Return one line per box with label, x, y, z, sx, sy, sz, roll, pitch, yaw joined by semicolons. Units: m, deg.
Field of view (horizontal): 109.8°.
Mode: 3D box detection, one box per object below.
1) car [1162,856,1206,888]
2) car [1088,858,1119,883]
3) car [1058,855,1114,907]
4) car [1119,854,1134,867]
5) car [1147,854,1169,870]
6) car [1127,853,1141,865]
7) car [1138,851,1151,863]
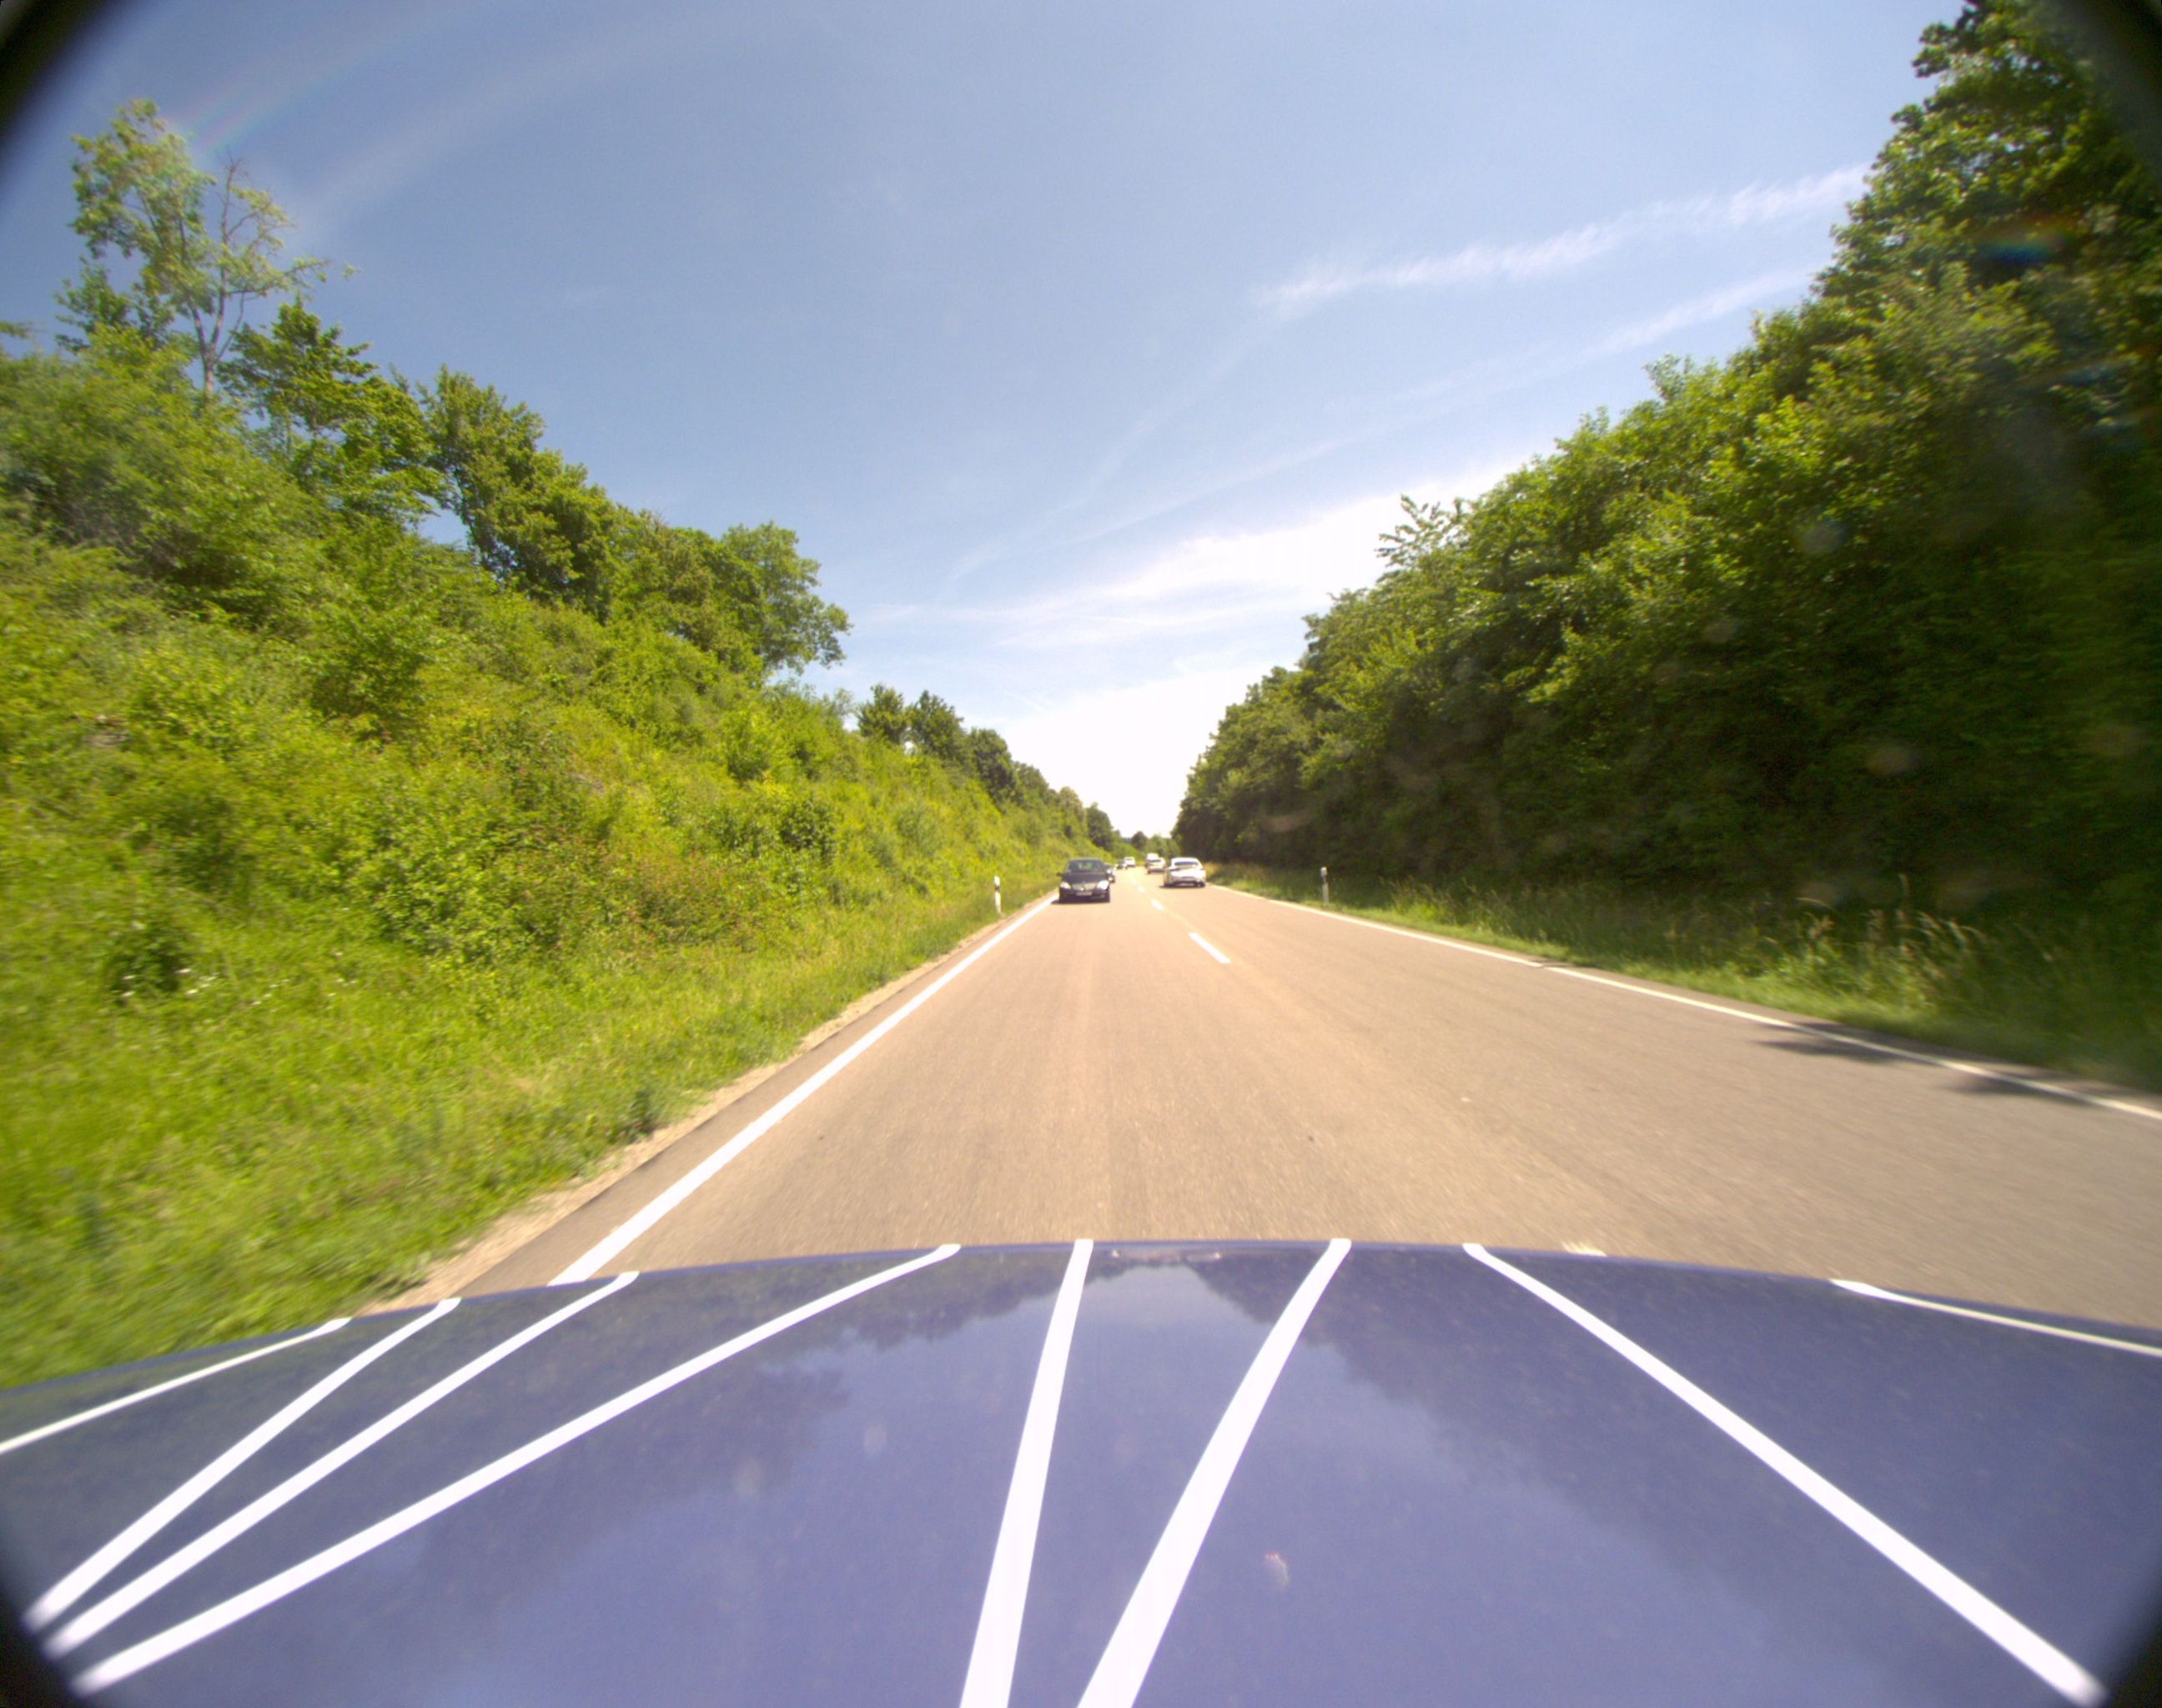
car;5.196;0.870;38.984;1.682;1.452;4.759;-2;0;1
car;1.482;1.029;48.888;1.709;1.444;5.416;-2;0;4
car;0.275;0.907;27.902;1.783;1.676;4.780;-2;0;3
car;6.690;0.926;112.726;2.045;1.743;4.167;-2;0;2
car;7.237;0.751;71.819;1.749;1.470;4.167;-2;0;2
car;9.631;0.951;138.207;1.997;2.002;4.003;-2;0;9
car;9.936;0.441;119.263;2.045;1.743;4.167;-2;0;4
